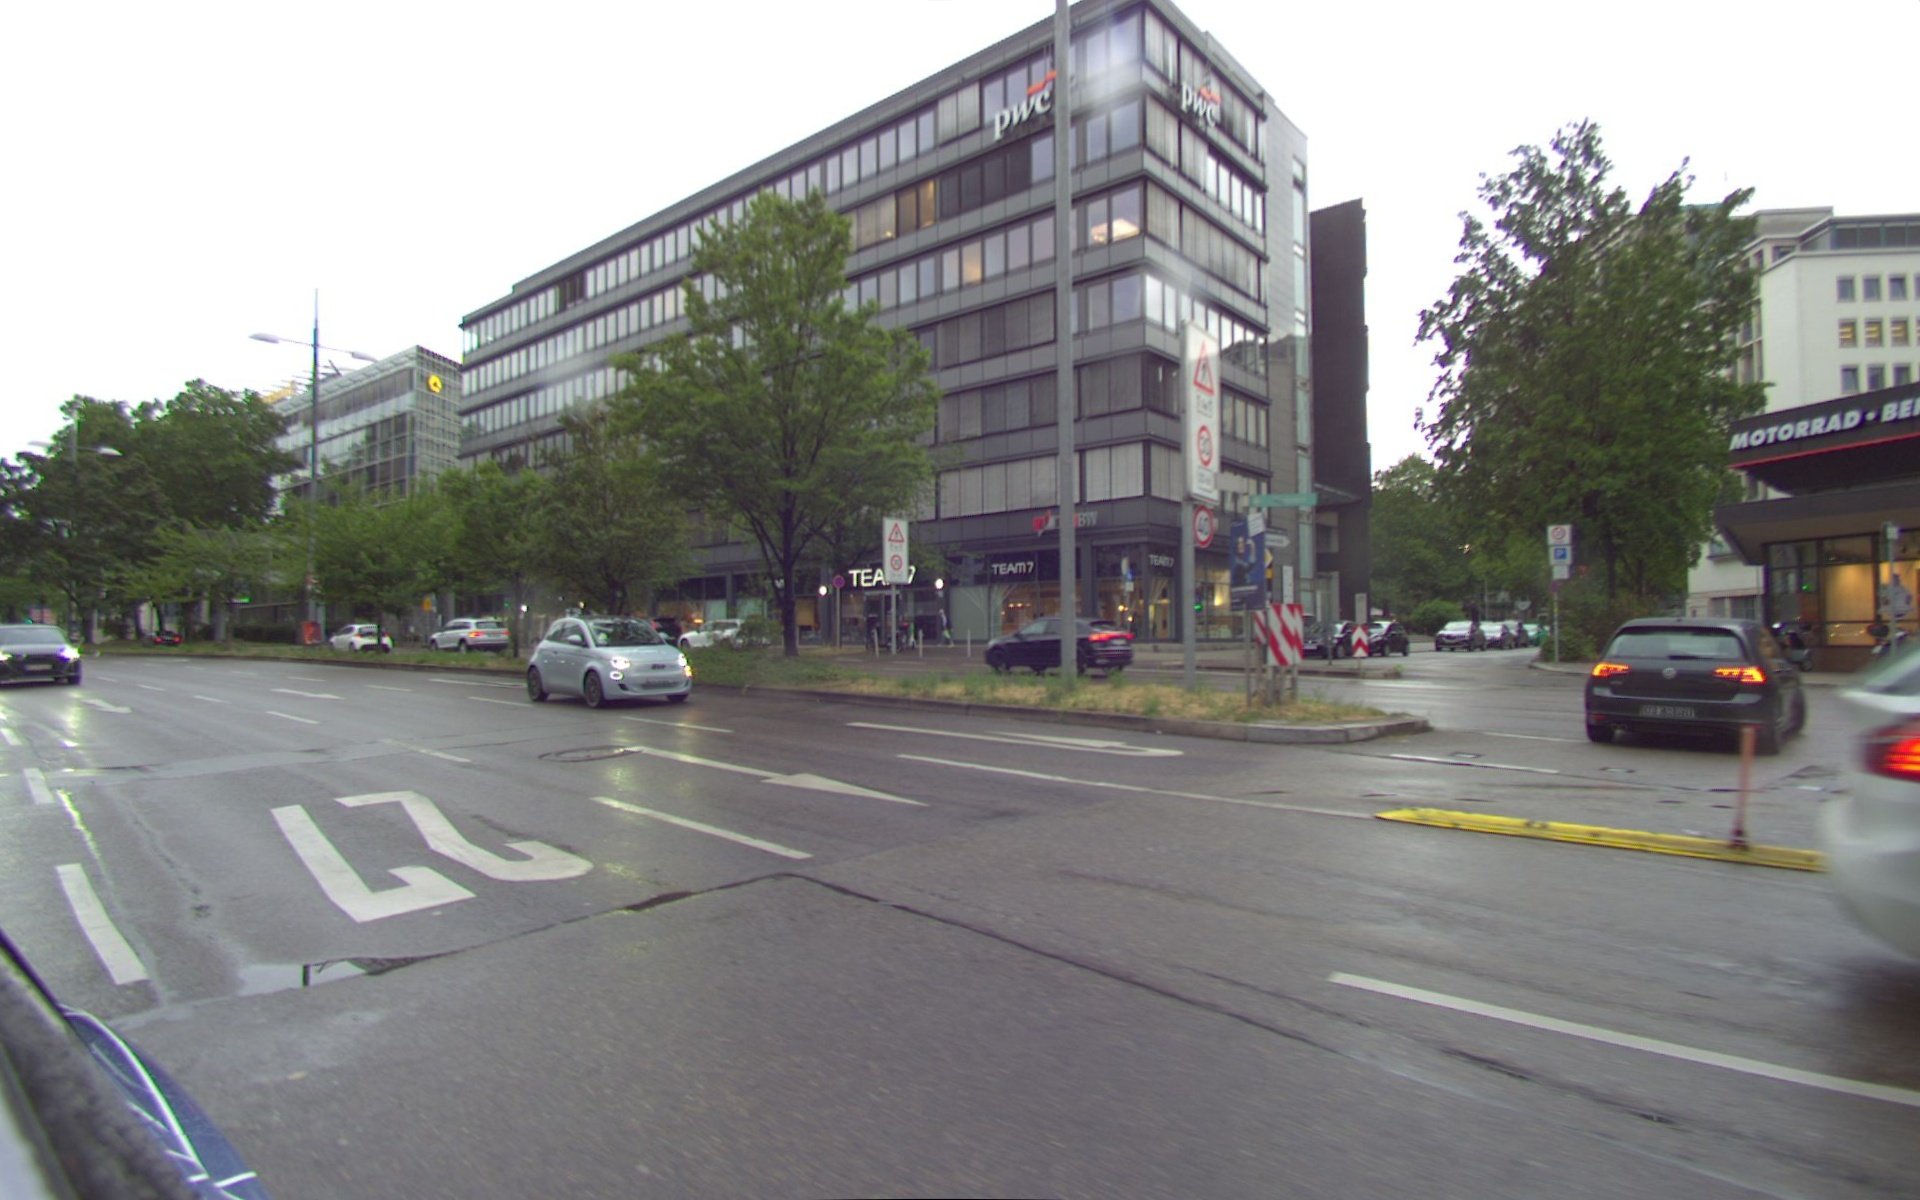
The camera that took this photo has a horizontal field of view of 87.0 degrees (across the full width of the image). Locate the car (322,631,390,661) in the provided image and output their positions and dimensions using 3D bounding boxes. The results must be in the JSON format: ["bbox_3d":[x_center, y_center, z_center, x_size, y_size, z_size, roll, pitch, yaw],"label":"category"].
[{"bbox_3d":[-30.622,2.305,51.303,4.078,1.442,1.666,-2,-2,39],"label":"car"}]

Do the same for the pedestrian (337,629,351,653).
[{"bbox_3d":[-47.746,3.149,78.439,0.924,1.812,0.720,-1,-1,40],"label":"pedestrian"}]

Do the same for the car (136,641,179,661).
[{"bbox_3d":[-64.464,4.074,81.302,4.295,1.487,1.791,-2,-2,38],"label":"car"}]

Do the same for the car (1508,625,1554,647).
[{"bbox_3d":[37.673,2.370,66.723,1.846,1.298,3.945,-1,-1,41],"label":"car"}]

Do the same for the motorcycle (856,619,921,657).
[{"bbox_3d":[-2.770,1.467,39.281,2.347,1.404,0.856,-1,2,14],"label":"motorcycle"}]

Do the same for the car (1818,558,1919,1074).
[{"bbox_3d":[4.966,0.623,2.490,4.286,1.585,1.764,-2,-2,42],"label":"car"}]

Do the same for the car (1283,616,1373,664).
[{"bbox_3d":[14.157,1.495,38.816,1.999,1.652,3.946,-1,-1,40],"label":"car"}]

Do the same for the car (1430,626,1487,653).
[{"bbox_3d":[26.602,2.096,53.915,1.846,1.298,3.947,-1,-1,40],"label":"car"}]

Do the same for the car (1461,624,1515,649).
[{"bbox_3d":[30.334,2.074,58.087,1.846,1.298,3.945,-1,-1,41],"label":"car"}]

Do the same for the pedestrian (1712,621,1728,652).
[{"bbox_3d":[47.791,2.298,63.651,0.729,1.937,0.912,-2,-2,41],"label":"pedestrian"}]

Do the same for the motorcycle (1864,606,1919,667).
[{"bbox_3d":[23.023,0.845,24.020,2.844,1.384,0.806,-1,-1,-13],"label":"motorcycle"}]

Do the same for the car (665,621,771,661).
[{"bbox_3d":[-10.190,1.701,42.435,4.770,1.496,1.790,-2,1,41],"label":"car"}]

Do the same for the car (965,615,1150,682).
[{"bbox_3d":[2.421,1.199,25.983,4.484,1.556,1.971,-2,-2,44],"label":"car"}]

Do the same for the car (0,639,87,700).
[{"bbox_3d":[-24.304,1.749,26.297,4.286,1.446,1.916,-2,-2,42],"label":"car"}]

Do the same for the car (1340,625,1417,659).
[{"bbox_3d":[17.499,1.717,42.218,1.846,1.298,3.946,-1,-1,40],"label":"car"}]

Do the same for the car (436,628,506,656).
[{"bbox_3d":[-27.564,2.357,56.983,4.303,1.455,1.792,-2,-1,38],"label":"car"}]

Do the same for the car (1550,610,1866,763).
[{"bbox_3d":[8.881,0.890,11.868,4.613,1.462,1.848,2,-2,-39],"label":"car"}]

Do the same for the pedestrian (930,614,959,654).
[{"bbox_3d":[-0.648,1.420,42.335,0.965,1.650,0.775,-2,-2,40],"label":"pedestrian"}]

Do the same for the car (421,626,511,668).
[{"bbox_3d":[-21.742,2.038,44.473,4.487,1.741,1.721,-2,-1,38],"label":"car"}]

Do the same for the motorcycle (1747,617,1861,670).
[{"bbox_3d":[22.493,1.146,26.986,2.774,1.343,0.725,-1,-1,-11],"label":"motorcycle"}]

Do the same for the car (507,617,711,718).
[{"bbox_3d":[-6.209,1.112,17.745,3.688,1.585,1.765,-2,-2,40],"label":"car"}]

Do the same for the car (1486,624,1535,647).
[{"bbox_3d":[34.126,2.159,62.682,1.846,1.298,3.945,-1,-1,41],"label":"car"}]

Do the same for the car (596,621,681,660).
[{"bbox_3d":[-14.814,1.825,46.476,4.309,1.673,1.789,-2,-1,42],"label":"car"}]
